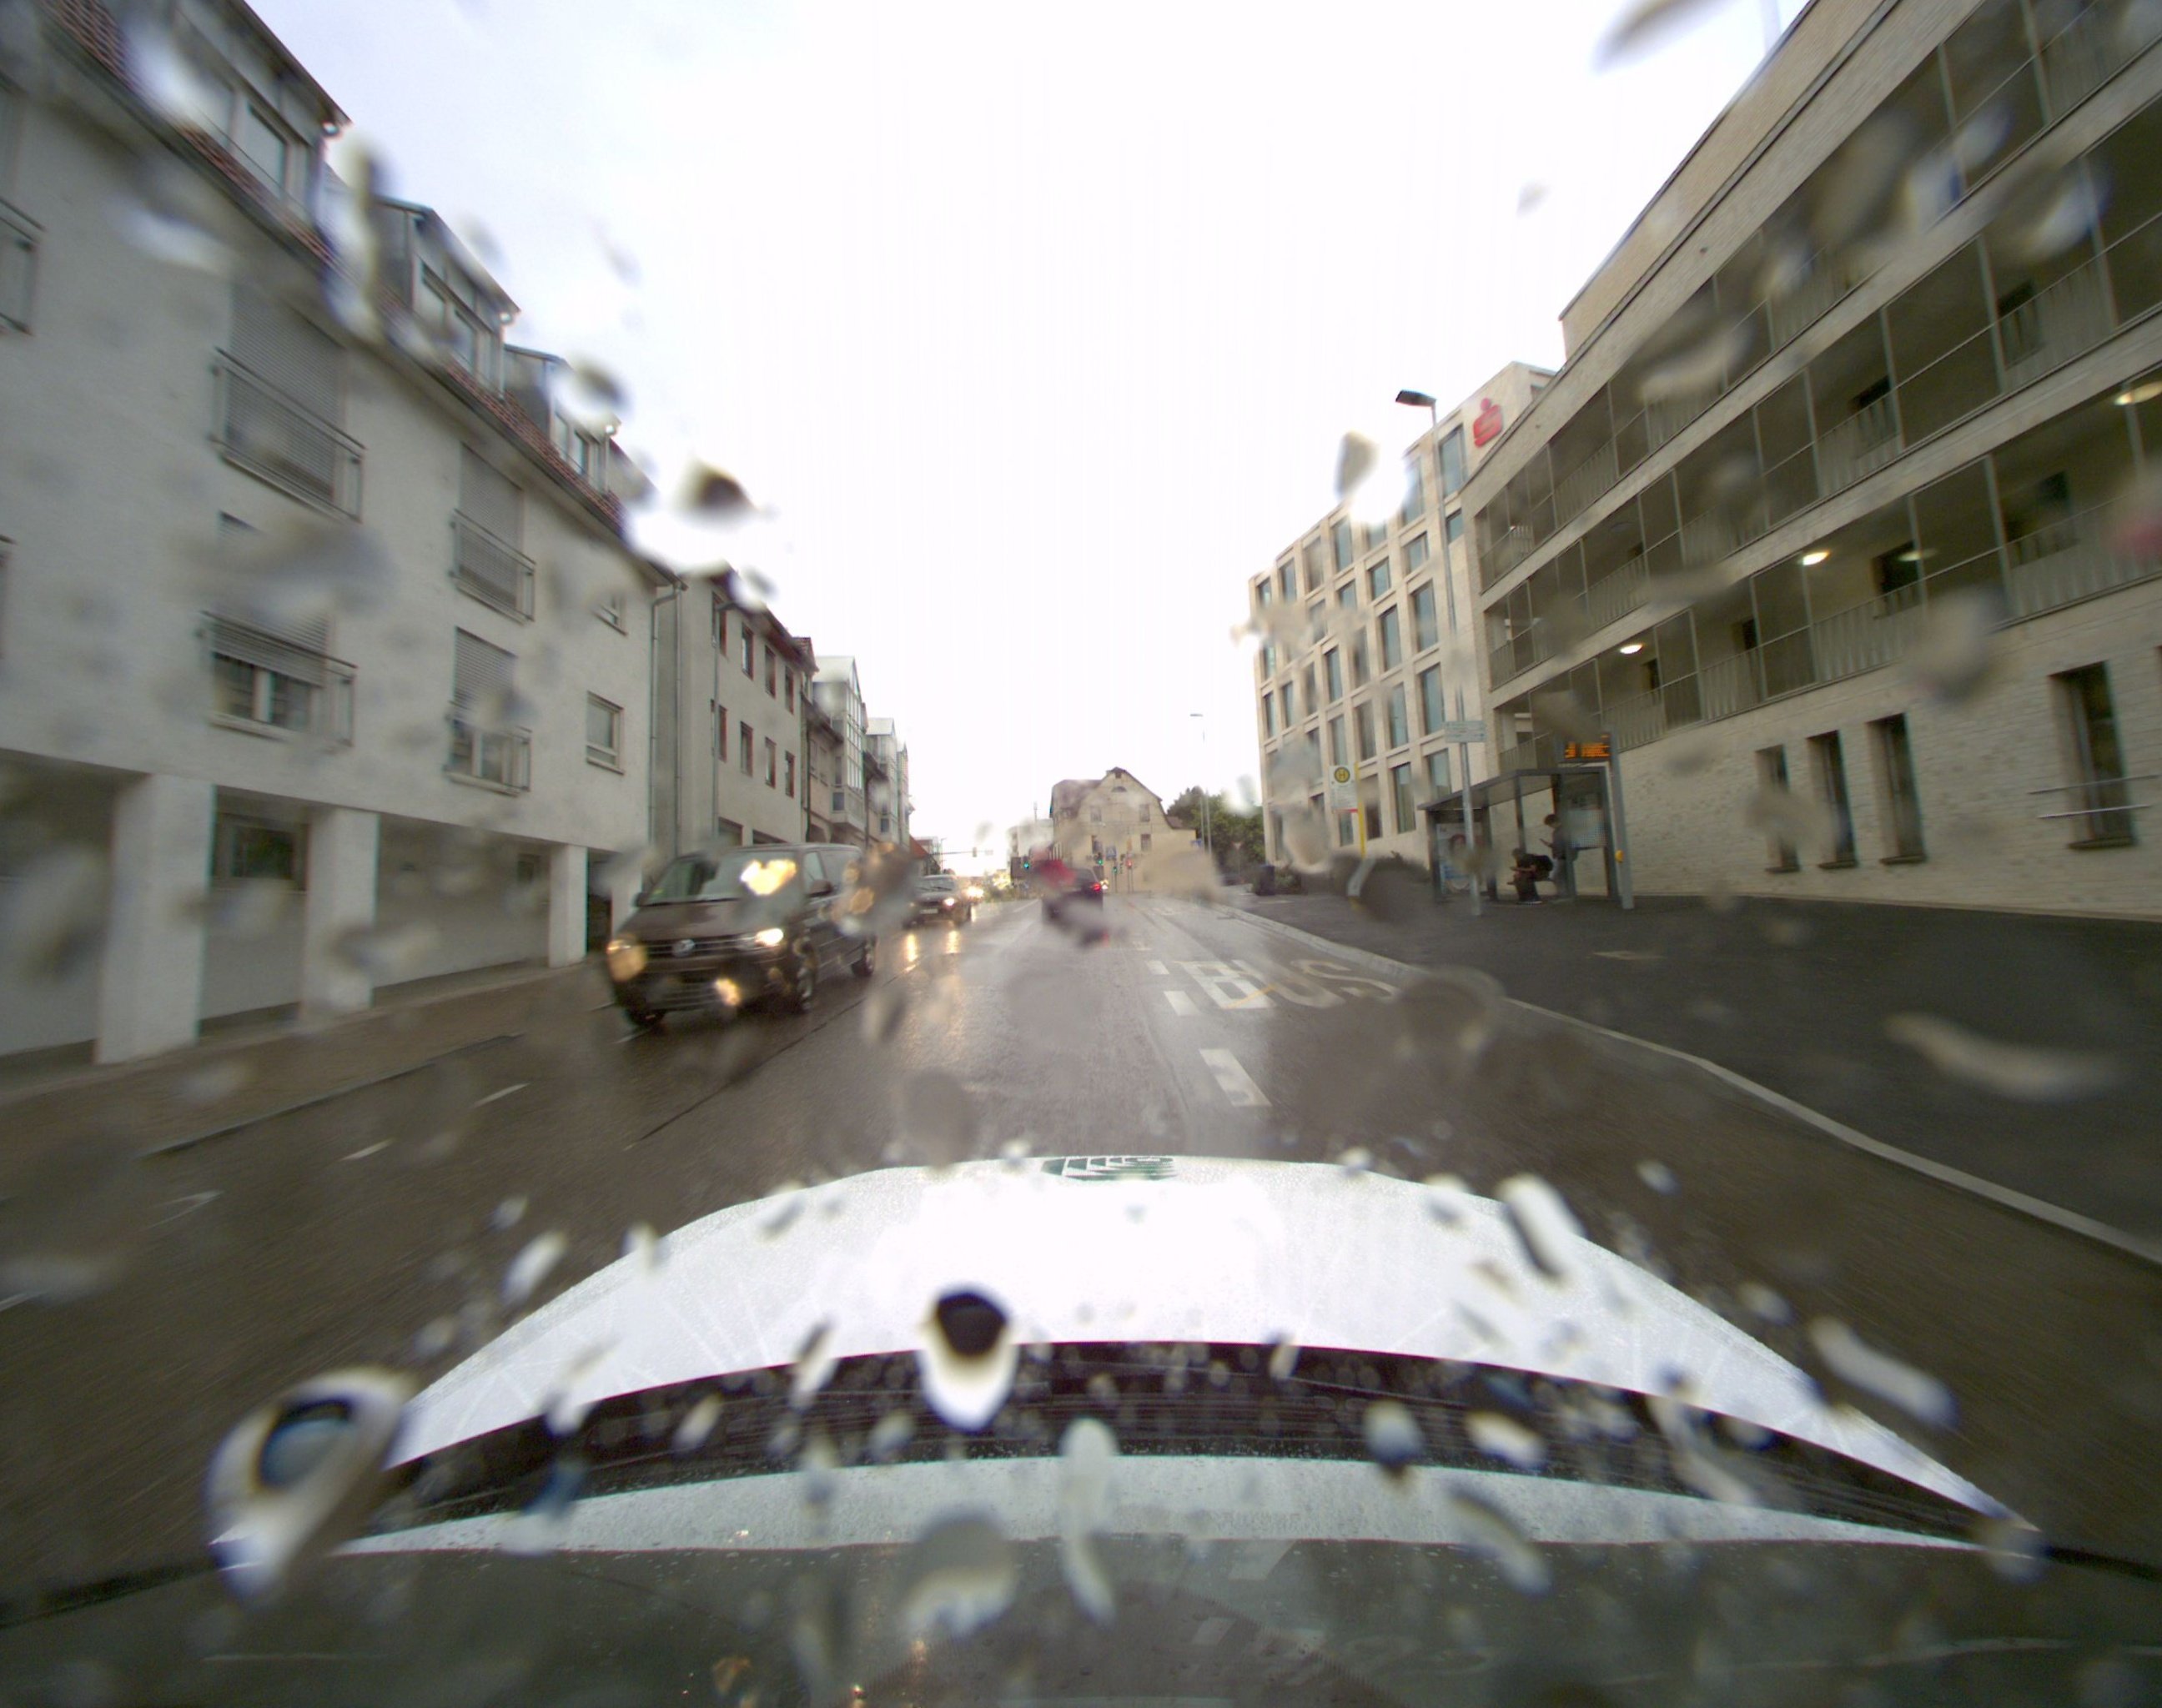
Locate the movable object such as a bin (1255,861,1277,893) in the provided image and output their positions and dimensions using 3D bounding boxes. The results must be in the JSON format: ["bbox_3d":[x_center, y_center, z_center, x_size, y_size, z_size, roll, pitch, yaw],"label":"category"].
[{"bbox_3d":[6.459,0.794,28.481,0.593,1.062,0.579,-3,-1,1],"label":"movable object such as a bin"}]

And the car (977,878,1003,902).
[{"bbox_3d":[-6.621,2.606,59.374,1.780,1.630,4.207,-2,-1,-6],"label":"car"}]

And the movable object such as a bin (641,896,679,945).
[{"bbox_3d":[-9.046,1.423,17.521,0.507,1.006,0.584,-2,-1,-2],"label":"movable object such as a bin"}]

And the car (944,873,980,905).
[{"bbox_3d":[-6.191,1.801,42.652,1.557,1.536,3.442,-4,-1,-6],"label":"car"}]

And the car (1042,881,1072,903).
[{"bbox_3d":[-1.861,2.828,61.563,1.885,1.467,3.991,-4,-2,-6],"label":"car"}]

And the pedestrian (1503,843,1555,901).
[{"bbox_3d":[9.536,0.383,17.349,0.669,1.162,0.635,-4,-1,2],"label":"pedestrian"}]

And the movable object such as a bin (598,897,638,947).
[{"bbox_3d":[-9.859,1.435,17.346,0.507,1.006,0.584,-2,-1,-2],"label":"movable object such as a bin"}]

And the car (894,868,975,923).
[{"bbox_3d":[-4.270,1.167,24.223,1.683,1.444,3.908,-2,-1,-1],"label":"car"}]

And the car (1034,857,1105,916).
[{"bbox_3d":[-0.342,0.924,24.831,1.939,1.567,4.415,-2,-1,-1],"label":"car"}]

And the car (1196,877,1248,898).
[{"bbox_3d":[12.931,3.066,74.829,4.309,1.505,1.769,-4,-6,-15],"label":"car"}]

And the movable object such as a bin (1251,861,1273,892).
[{"bbox_3d":[6.496,0.803,29.231,0.593,1.062,0.579,-3,-1,1],"label":"movable object such as a bin"}]

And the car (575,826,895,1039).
[{"bbox_3d":[-3.873,0.785,10.306,1.927,1.907,5.039,-4,-1,-2],"label":"car"}]

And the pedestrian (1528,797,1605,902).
[{"bbox_3d":[9.462,-0.079,15.904,0.779,1.940,1.021,-4,-1,2],"label":"pedestrian"}]
